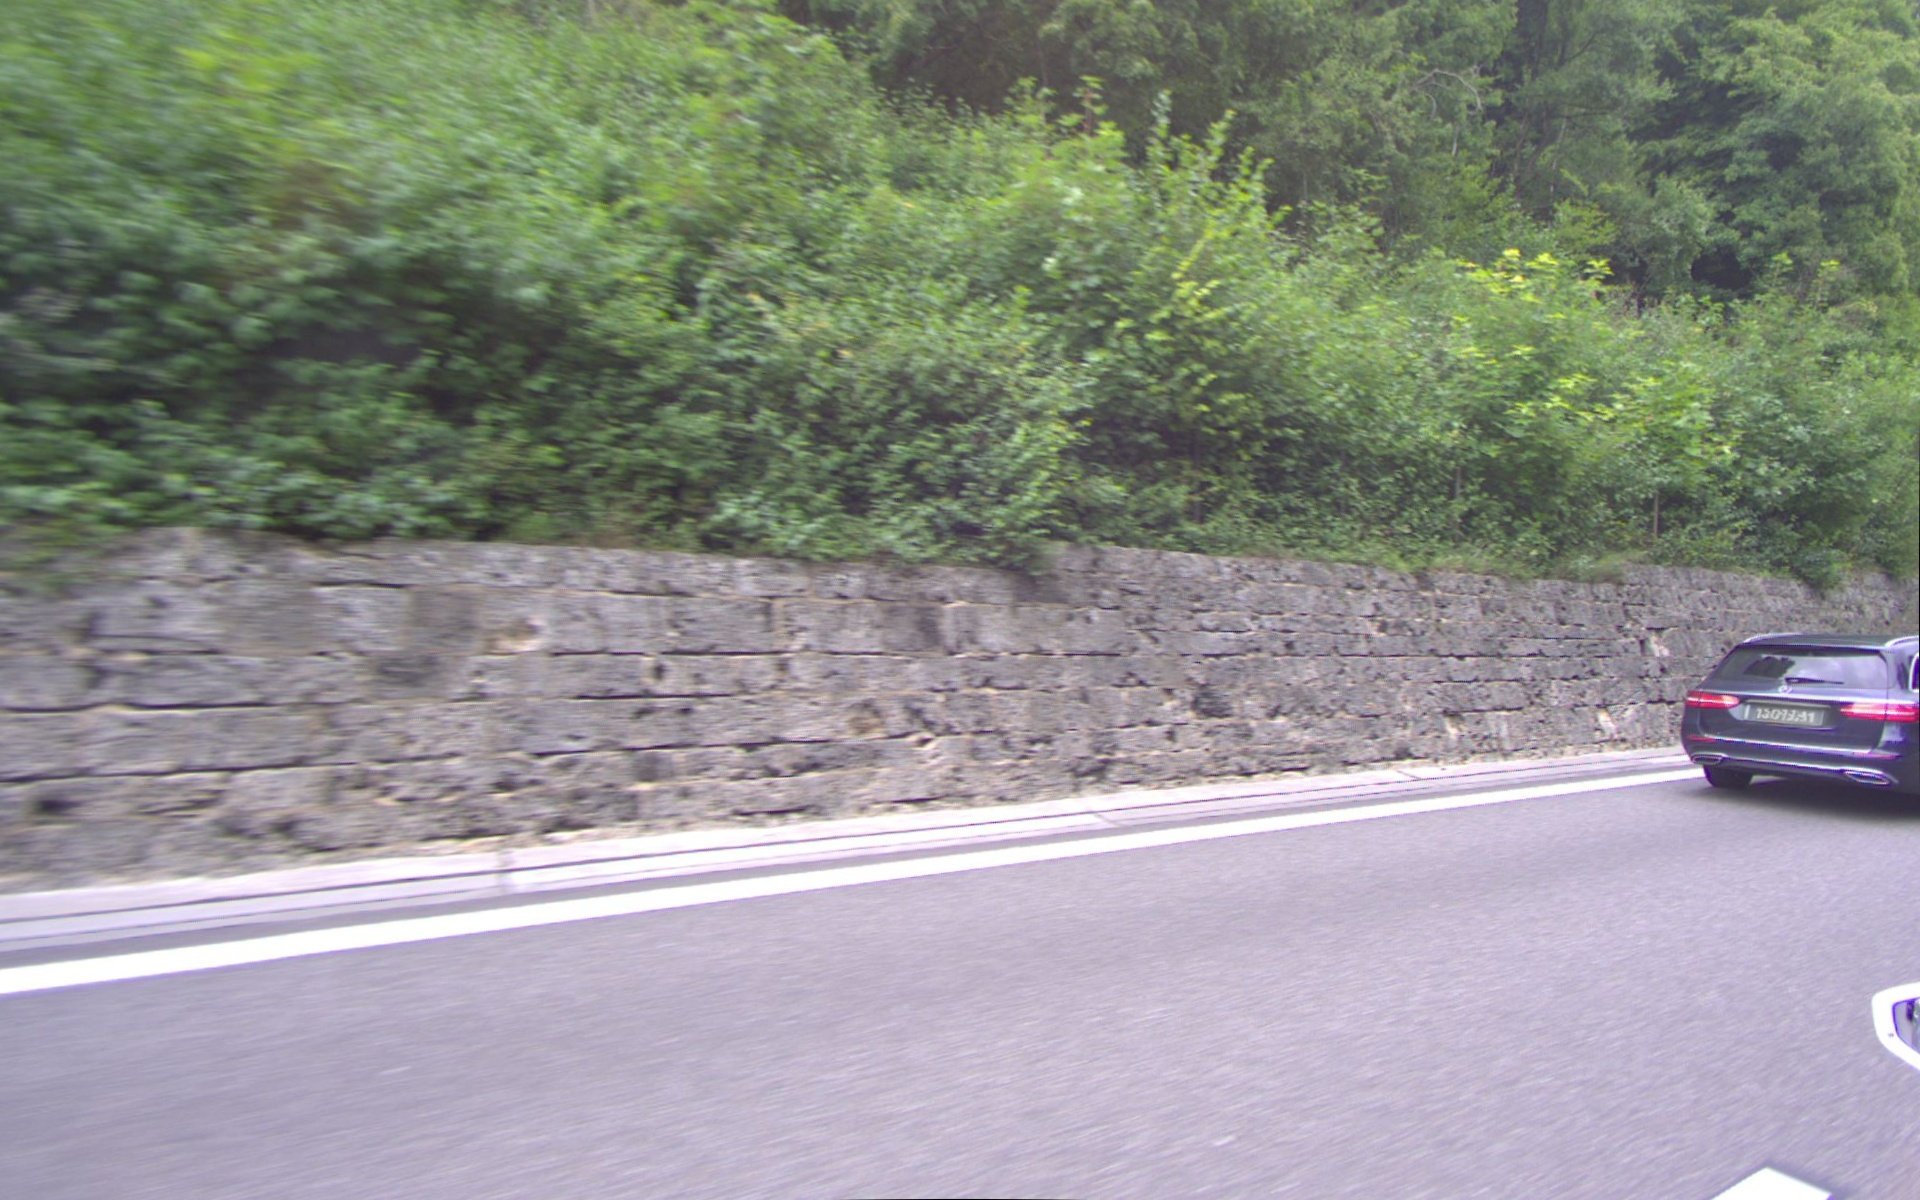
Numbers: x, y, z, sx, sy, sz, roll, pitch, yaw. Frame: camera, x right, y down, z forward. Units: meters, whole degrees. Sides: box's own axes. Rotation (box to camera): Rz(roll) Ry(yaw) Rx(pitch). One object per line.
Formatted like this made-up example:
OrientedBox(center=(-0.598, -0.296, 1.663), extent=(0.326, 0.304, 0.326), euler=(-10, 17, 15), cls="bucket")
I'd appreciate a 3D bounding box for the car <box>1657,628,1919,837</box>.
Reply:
OrientedBox(center=(8.783, 1.059, 9.458), extent=(5.064, 1.483, 1.751), euler=(2, -1, -31), cls="car")
